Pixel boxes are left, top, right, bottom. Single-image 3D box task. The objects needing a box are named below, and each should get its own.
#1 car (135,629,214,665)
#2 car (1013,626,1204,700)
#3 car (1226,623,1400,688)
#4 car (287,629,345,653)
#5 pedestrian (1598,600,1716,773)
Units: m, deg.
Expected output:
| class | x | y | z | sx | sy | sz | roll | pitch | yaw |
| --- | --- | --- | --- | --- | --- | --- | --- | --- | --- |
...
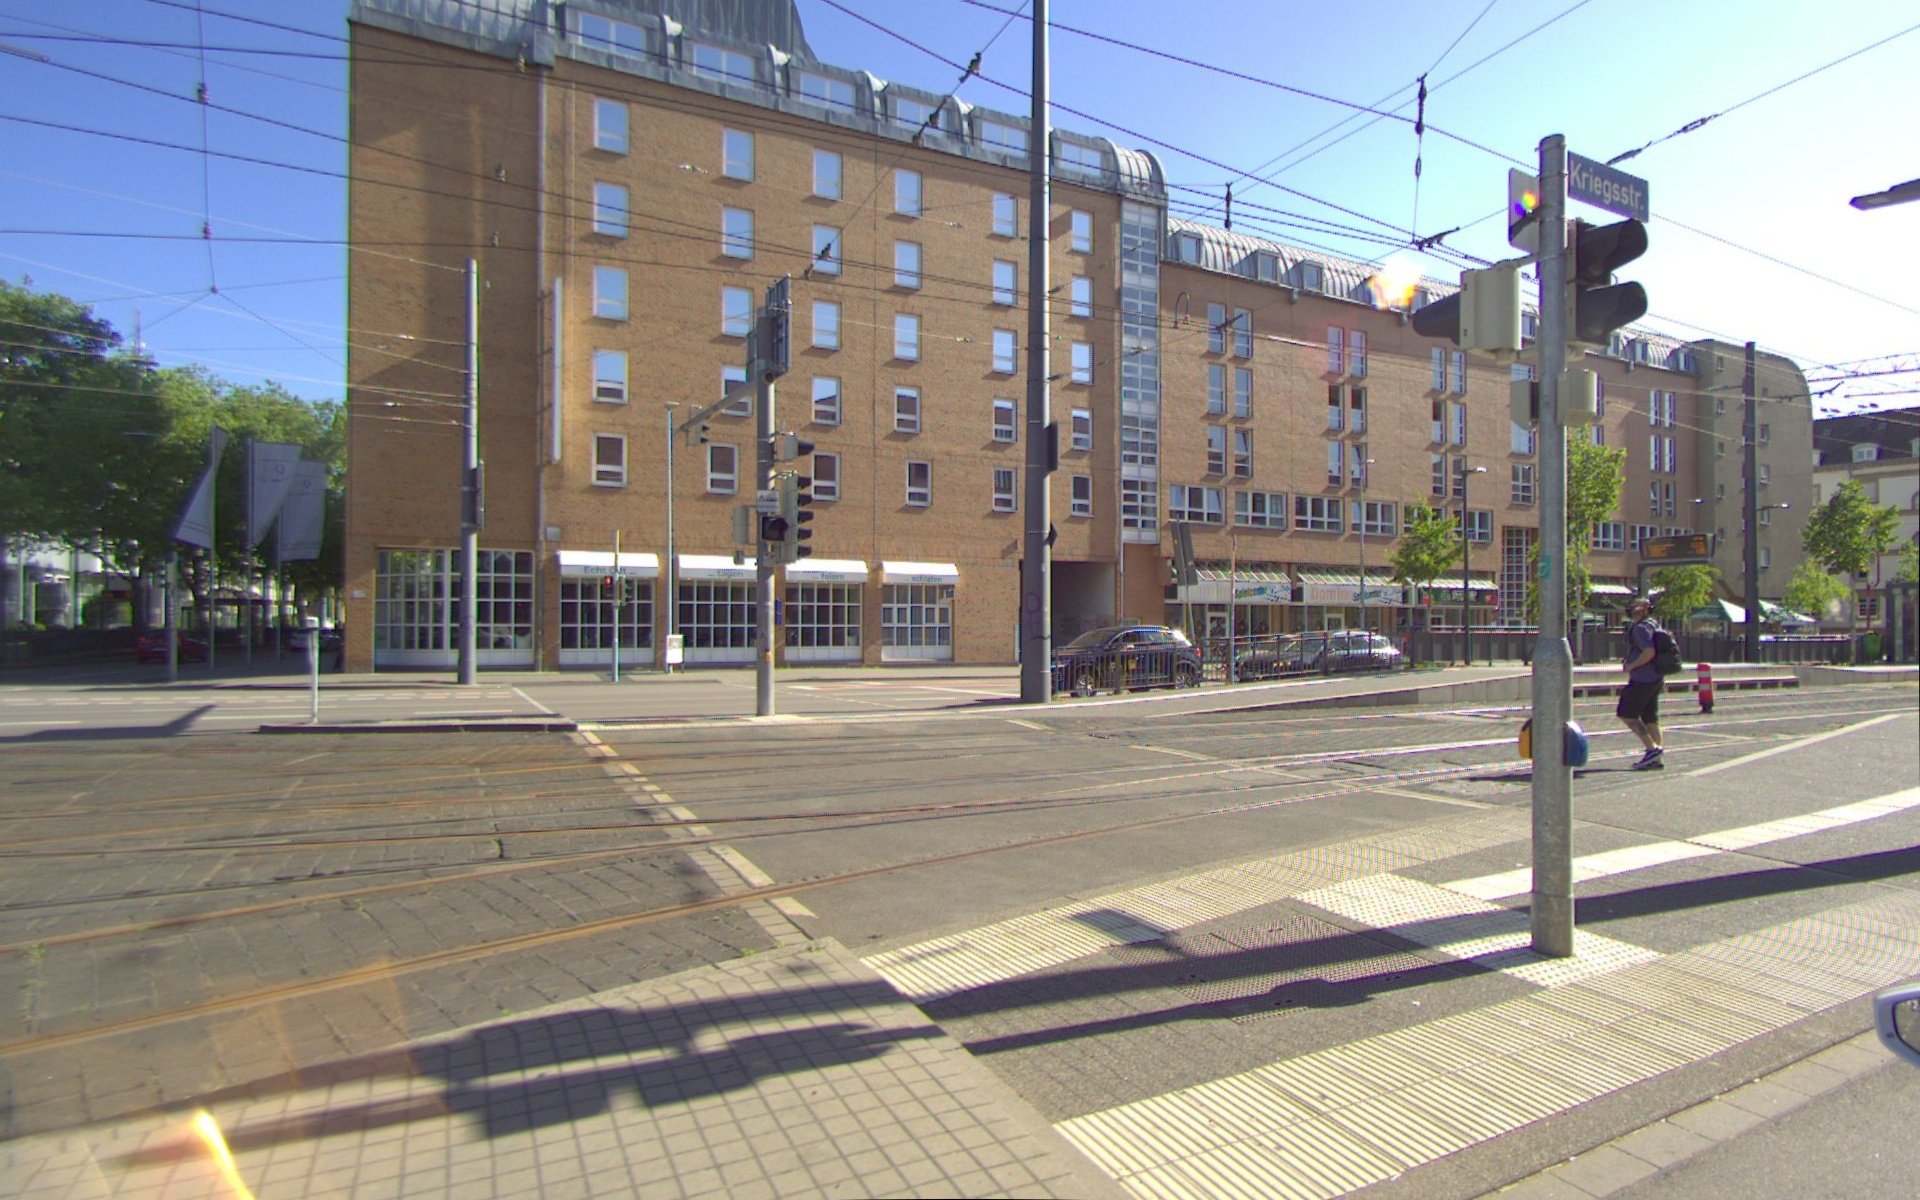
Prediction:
| class | x | y | z | sx | sy | sz | roll | pitch | yaw |
| --- | --- | --- | --- | --- | --- | --- | --- | --- | --- |
| car | -33.226 | 1.962 | 42.595 | 1.634 | 1.468 | 3.567 | 0 | -2 | -21 |
| car | 3.238 | 1.355 | 21.791 | 3.870 | 1.416 | 1.604 | 0 | -5 | -28 |
| car | 8.696 | 1.347 | 24.685 | 4.174 | 1.416 | 1.604 | 0 | -5 | -28 |
| car | -38.890 | 2.475 | 60.732 | 2.036 | 1.399 | 4.392 | 1 | -2 | -20 |
| pedestrian | 7.109 | 0.879 | 10.289 | 0.849 | 1.690 | 0.615 | -4 | -4 | 31 |
